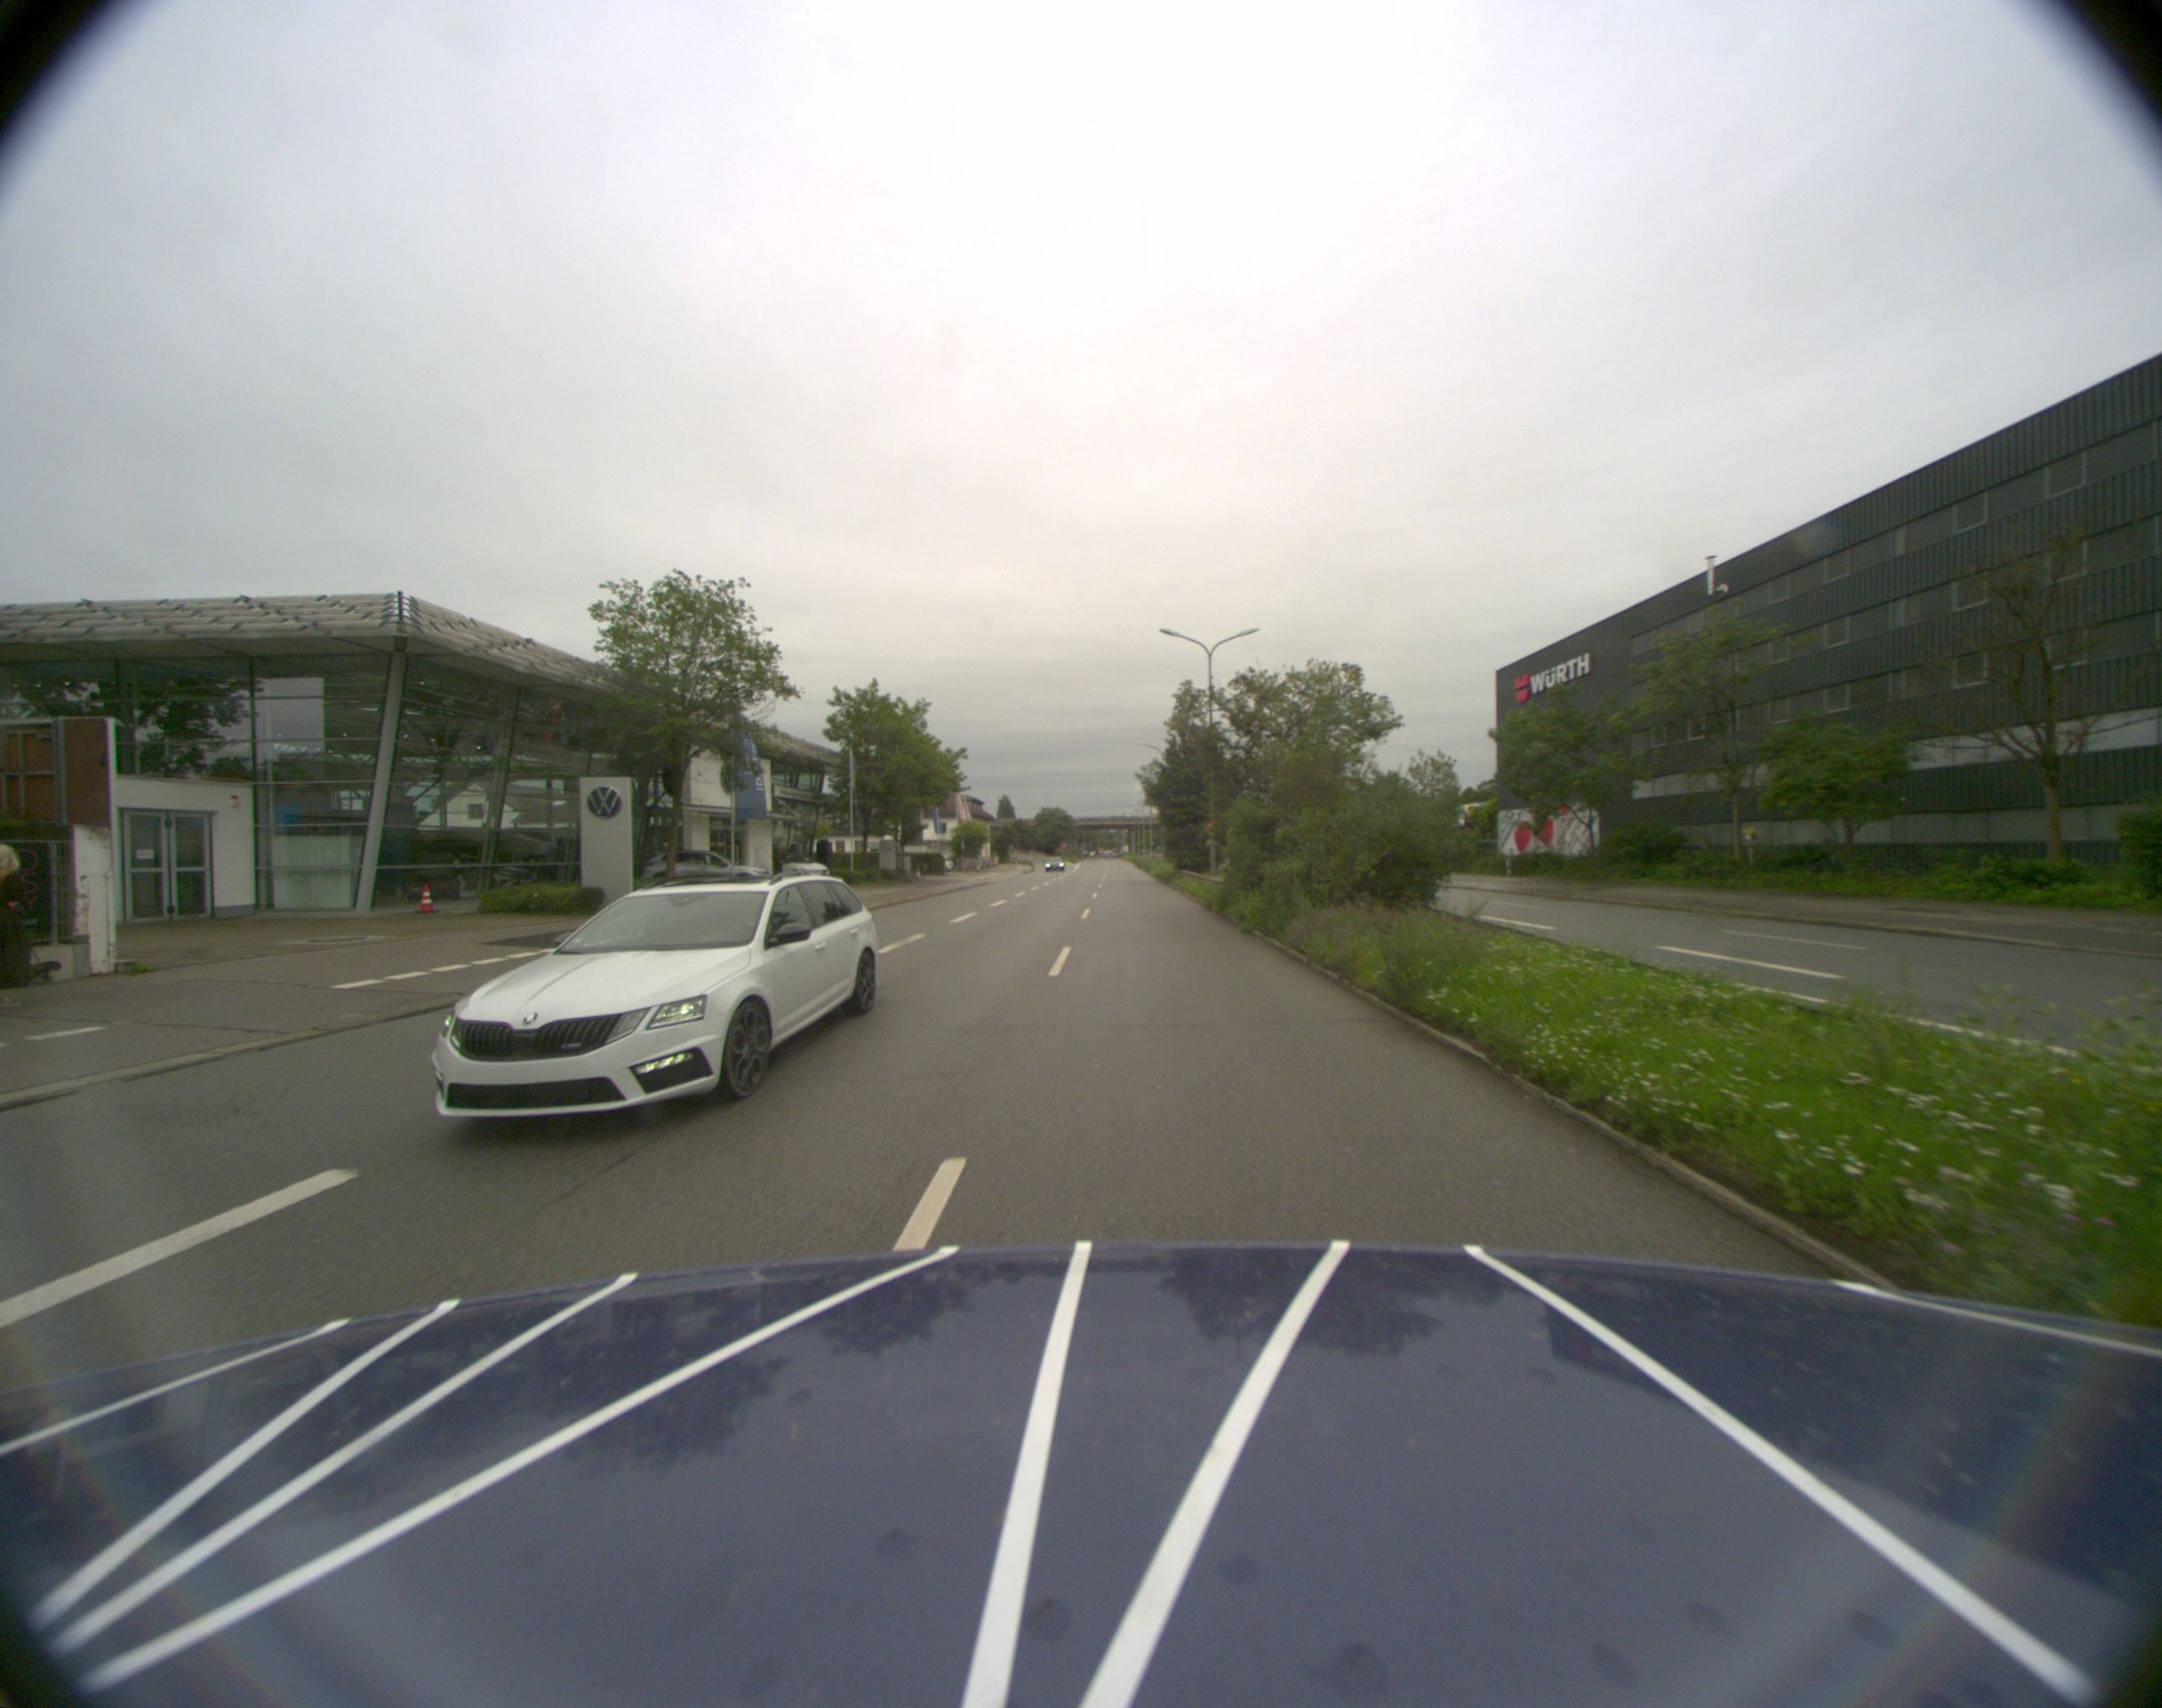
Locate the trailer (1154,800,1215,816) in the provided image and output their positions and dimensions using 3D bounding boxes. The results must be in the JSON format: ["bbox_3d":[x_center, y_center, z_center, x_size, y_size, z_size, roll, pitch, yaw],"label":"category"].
[{"bbox_3d":[22.268,-9.872,164.453,14.015,3.280,2.671,3,4,43],"label":"trailer"}]

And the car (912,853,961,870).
[{"bbox_3d":[-13.175,0.665,69.484,4.023,1.452,1.793,-1,1,2],"label":"car"}]

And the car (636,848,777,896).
[{"bbox_3d":[-14.229,0.673,29.205,4.608,1.697,2.004,1,2,-18],"label":"car"}]

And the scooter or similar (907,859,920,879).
[{"bbox_3d":[-10.447,0.935,47.440,0.497,1.197,1.430,2,0,0],"label":"scooter or similar"}]

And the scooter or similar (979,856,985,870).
[{"bbox_3d":[-9.203,0.806,70.773,0.398,1.216,1.638,2,1,-11],"label":"scooter or similar"}]

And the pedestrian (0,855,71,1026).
[{"bbox_3d":[-11.429,0.889,7.860,0.759,1.718,0.896,3,1,7],"label":"pedestrian"}]

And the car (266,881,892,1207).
[{"bbox_3d":[-3.128,1.057,6.150,1.914,1.439,4.556,-2,0,1],"label":"car"}]

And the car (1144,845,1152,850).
[{"bbox_3d":[21.348,-2.124,241.236,1.974,1.574,4.589,2,2,0],"label":"car"}]

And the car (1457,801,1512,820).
[{"bbox_3d":[44.563,-4.807,84.028,4.793,2.003,2.134,1,4,3],"label":"car"}]

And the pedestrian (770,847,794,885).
[{"bbox_3d":[-14.176,0.564,36.000,0.808,1.766,0.714,-2,1,-42],"label":"pedestrian"}]

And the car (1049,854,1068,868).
[{"bbox_3d":[-2.229,0.715,76.206,1.709,1.280,4.000,-1,0,1],"label":"car"}]

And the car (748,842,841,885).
[{"bbox_3d":[-14.340,0.430,38.057,4.249,2.002,1.966,2,2,27],"label":"car"}]

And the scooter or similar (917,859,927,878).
[{"bbox_3d":[-10.381,0.945,49.703,0.497,1.198,1.428,2,1,-7],"label":"scooter or similar"}]

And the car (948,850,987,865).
[{"bbox_3d":[-13.081,0.399,87.535,4.106,1.716,1.927,-1,1,1],"label":"car"}]

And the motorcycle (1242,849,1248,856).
[{"bbox_3d":[25.411,-0.244,117.820,0.534,1.169,2.195,-1,1,2],"label":"motorcycle"}]
